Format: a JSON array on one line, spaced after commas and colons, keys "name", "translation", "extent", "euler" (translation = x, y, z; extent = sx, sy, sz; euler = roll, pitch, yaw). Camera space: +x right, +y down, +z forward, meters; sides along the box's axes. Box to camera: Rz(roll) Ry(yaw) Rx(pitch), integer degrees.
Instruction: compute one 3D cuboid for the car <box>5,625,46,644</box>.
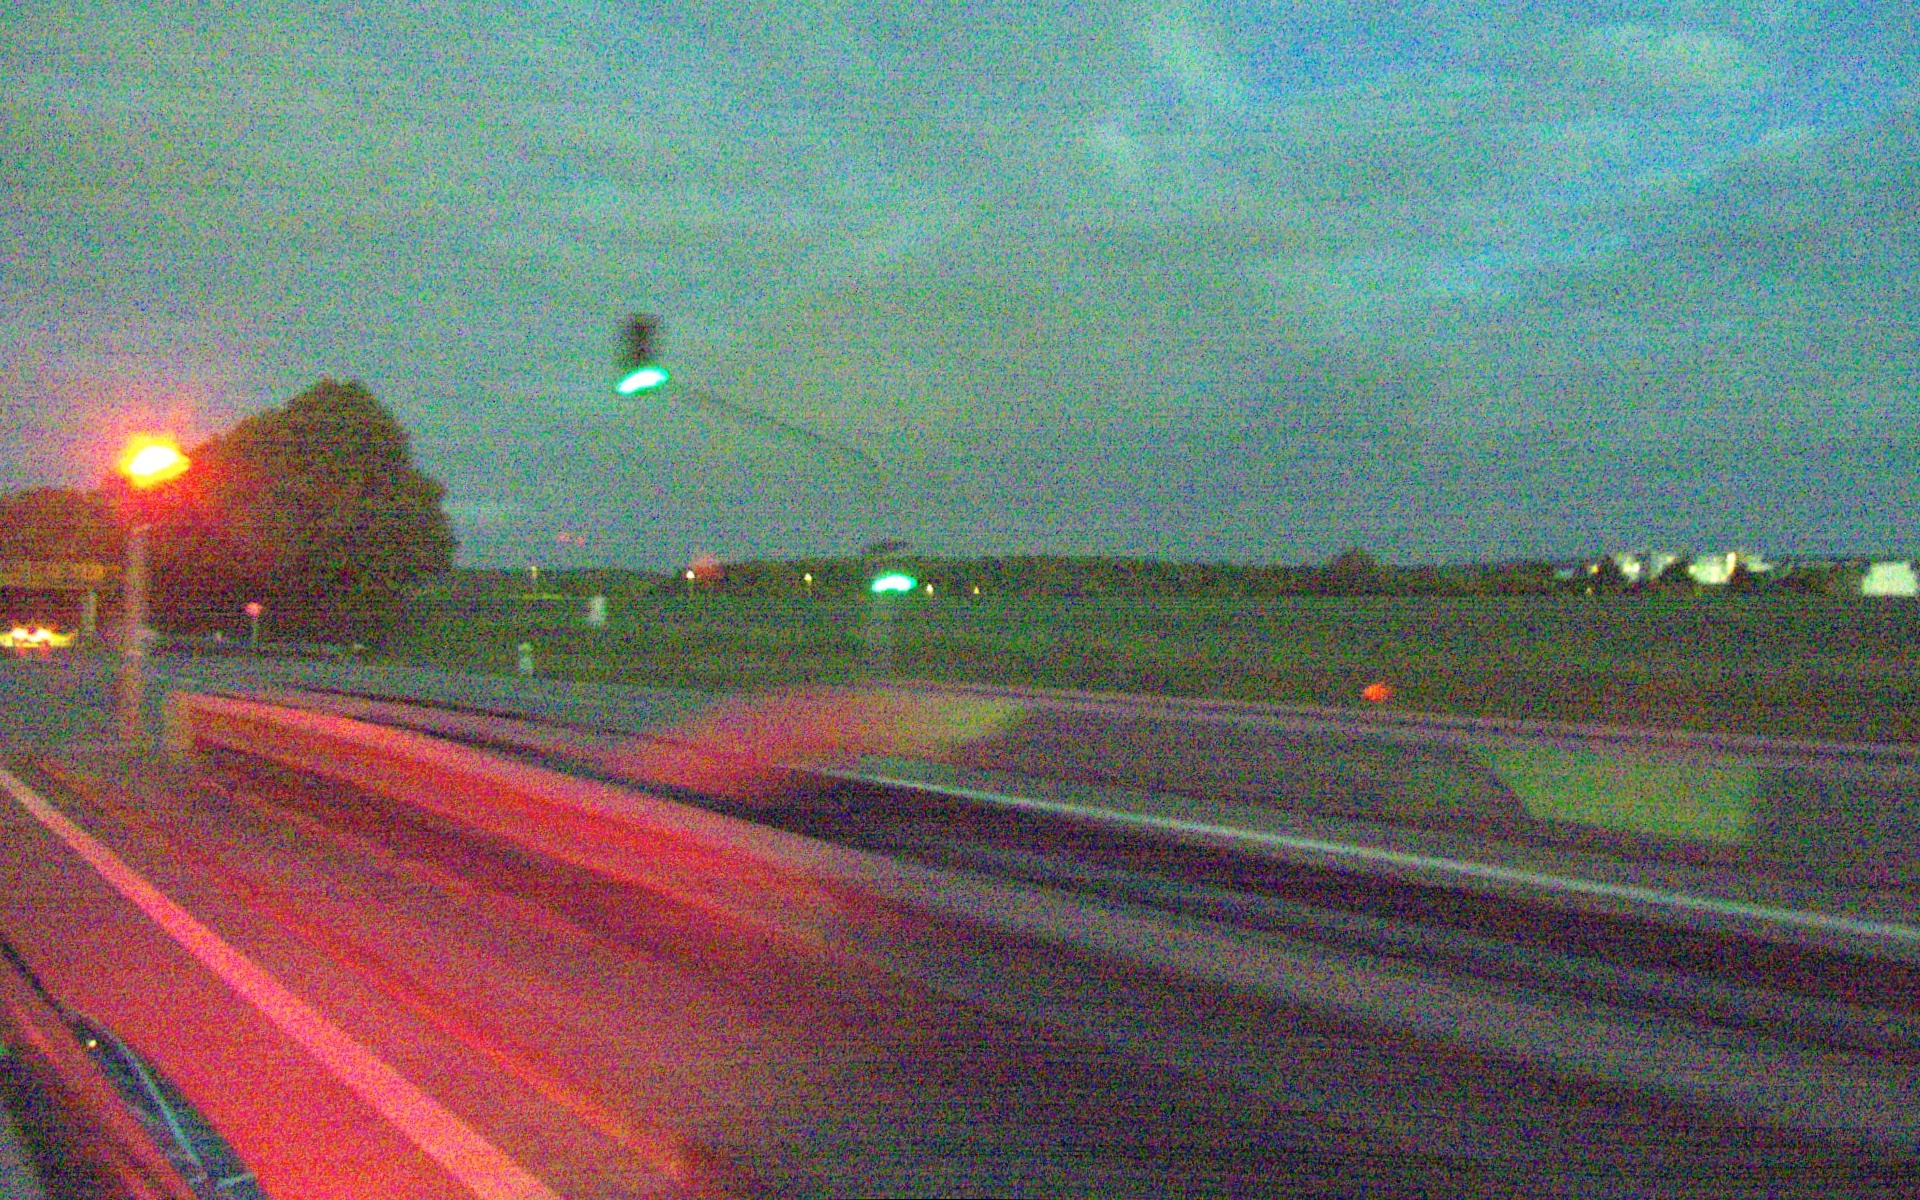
[{"name": "car", "translation": [-66.803, 2.471, 72.335], "extent": [3.936, 1.340, 1.589], "euler": [-1, -3, 40]}]
